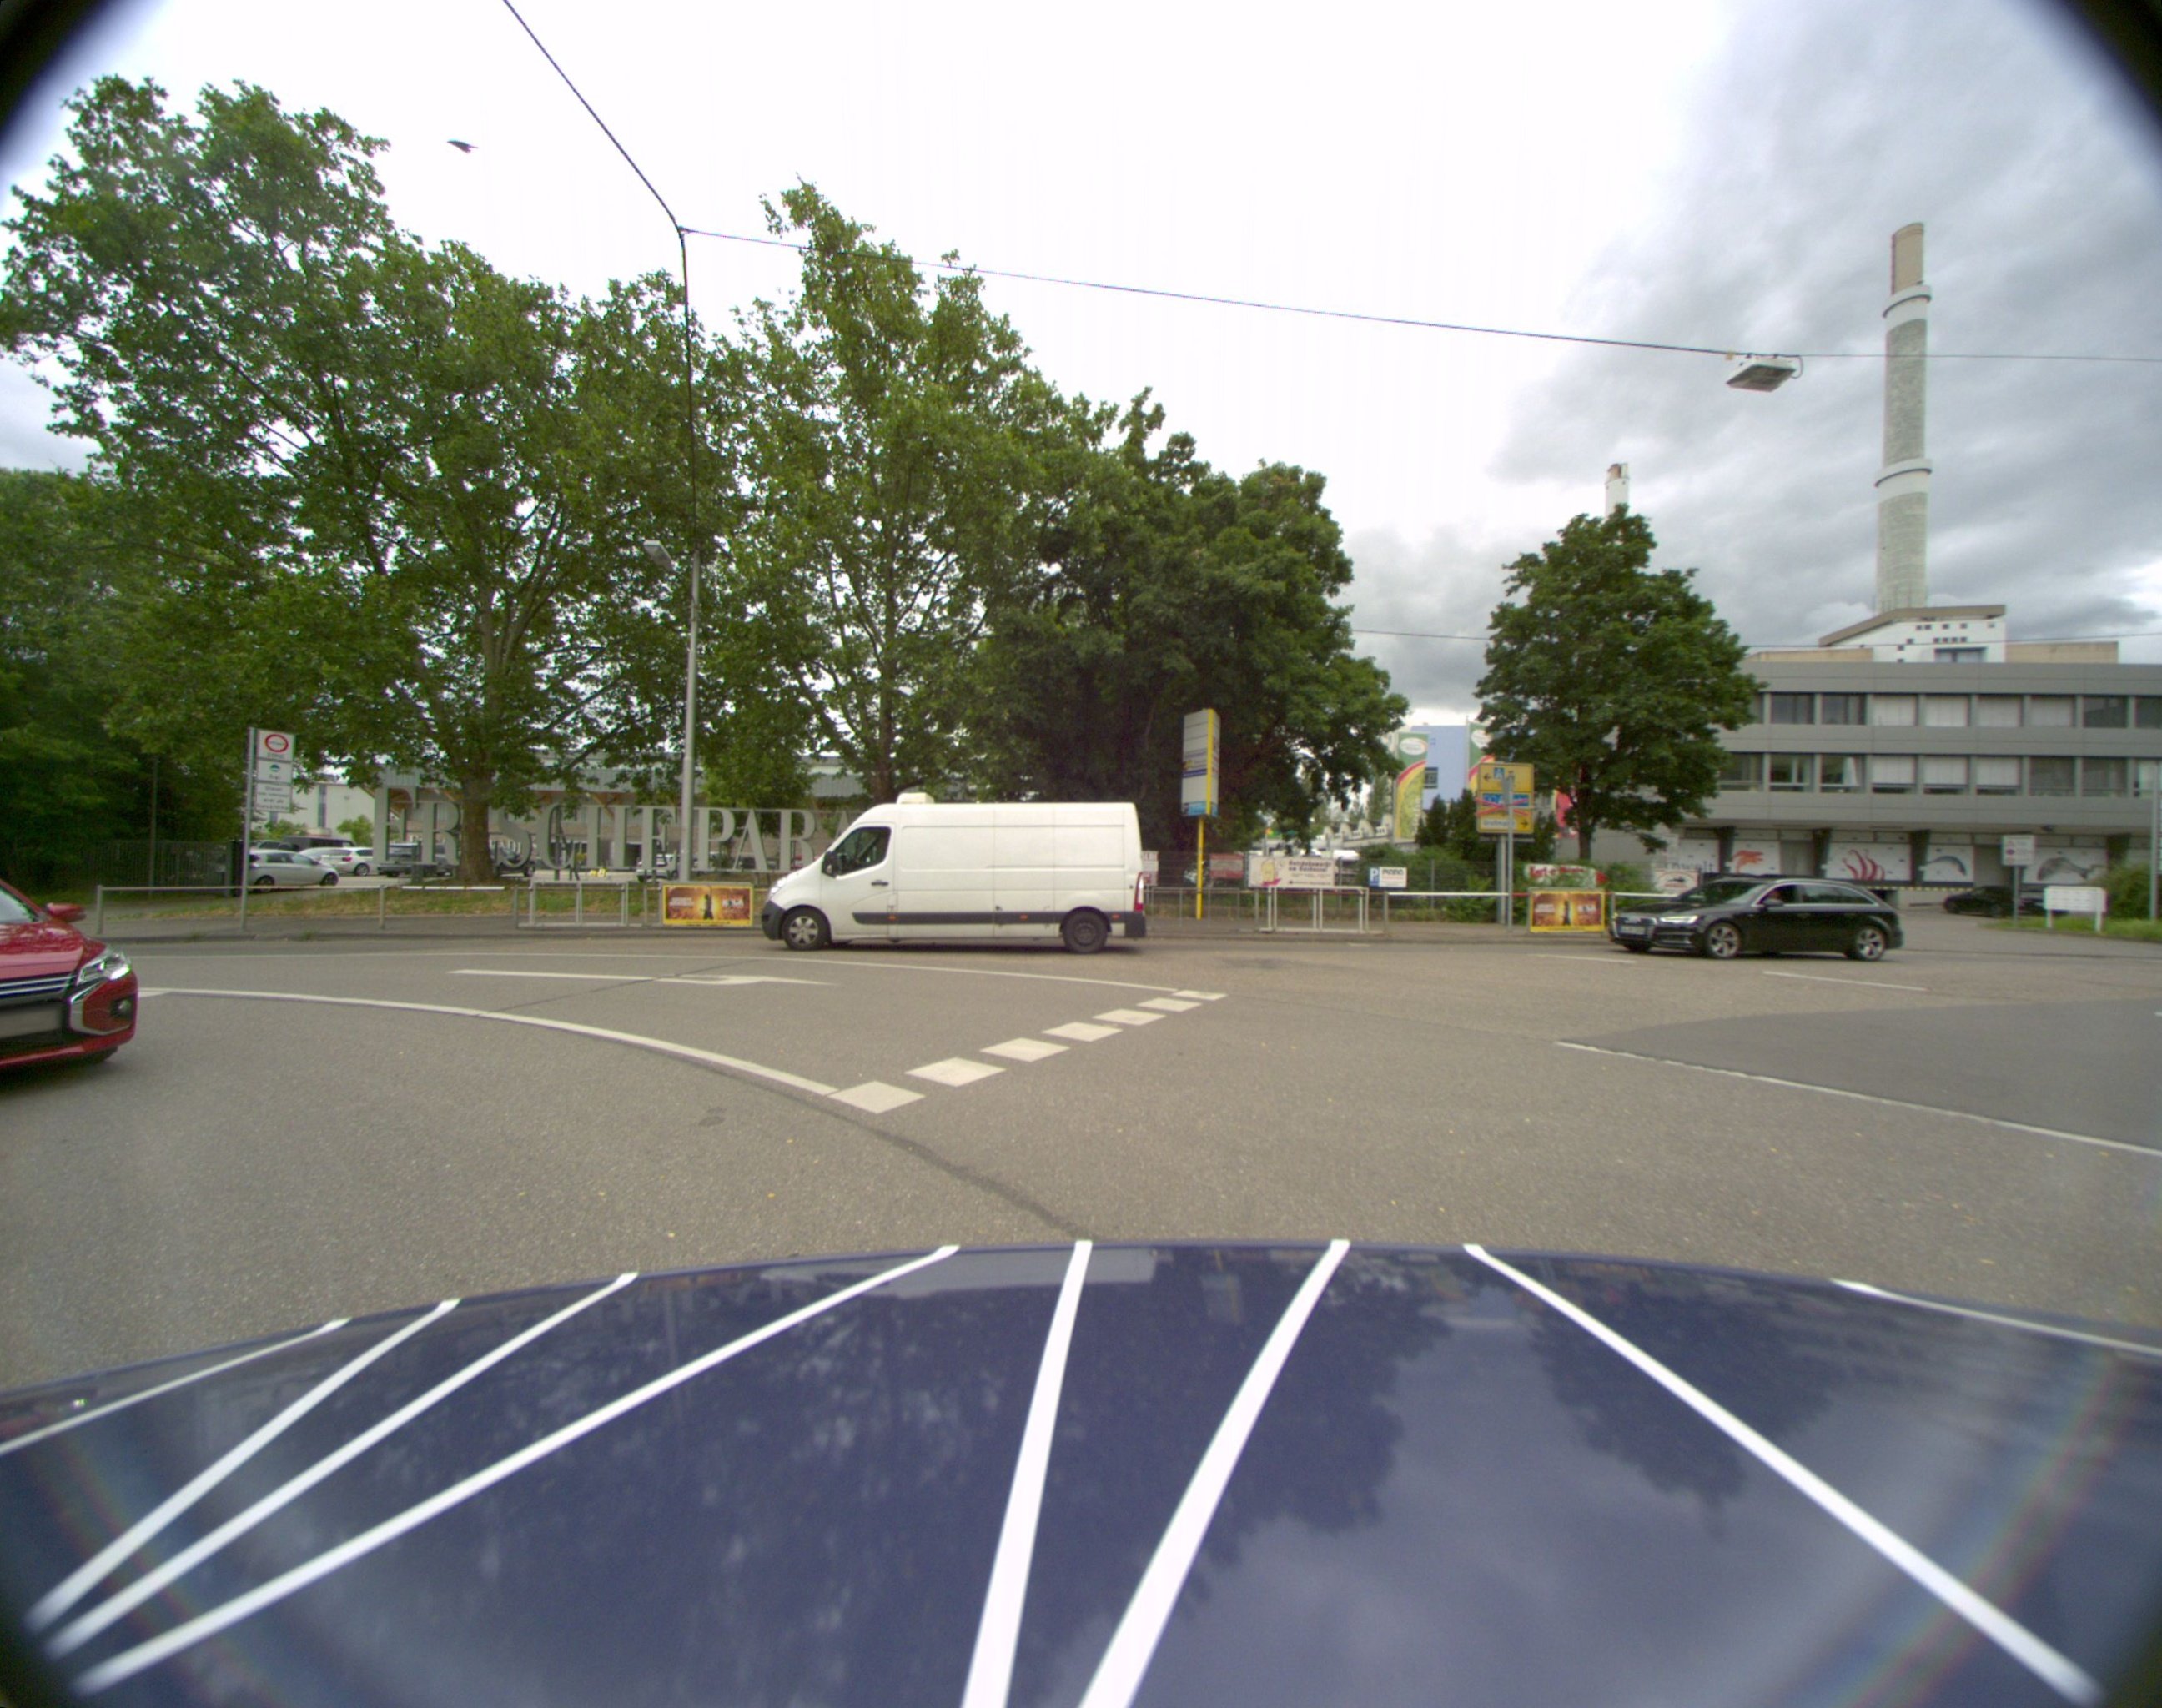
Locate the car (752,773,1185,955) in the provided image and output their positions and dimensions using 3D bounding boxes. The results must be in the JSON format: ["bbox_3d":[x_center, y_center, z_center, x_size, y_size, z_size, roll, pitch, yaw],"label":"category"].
[{"bbox_3d":[-1.697,0.143,12.665,6.479,2.527,2.192,-2,1,-1],"label":"car"}]

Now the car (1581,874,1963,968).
[{"bbox_3d":[12.227,1.149,13.669,5.219,1.448,2.000,2,-1,-3],"label":"car"}]

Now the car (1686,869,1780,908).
[{"bbox_3d":[31.766,1.648,37.147,1.775,1.669,3.574,-2,1,7],"label":"car"}]

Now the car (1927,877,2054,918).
[{"bbox_3d":[41.725,1.961,34.995,1.747,1.543,3.611,-2,1,6],"label":"car"}]

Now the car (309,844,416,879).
[{"bbox_3d":[-36.987,0.388,39.270,1.916,1.690,3.998,2,-1,-5],"label":"car"}]

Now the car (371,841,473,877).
[{"bbox_3d":[-33.703,0.269,39.024,1.916,1.690,3.998,2,-1,-5],"label":"car"}]

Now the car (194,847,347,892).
[{"bbox_3d":[-30.651,0.590,28.924,1.916,1.566,3.770,2,-1,-5],"label":"car"}]

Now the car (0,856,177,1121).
[{"bbox_3d":[-8.084,0.780,4.718,3.733,1.521,1.770,0,1,16],"label":"car"}]

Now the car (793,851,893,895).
[{"bbox_3d":[-8.944,0.657,29.023,1.998,1.449,4.701,-2,1,4],"label":"car"}]

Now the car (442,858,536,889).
[{"bbox_3d":[-30.449,0.981,39.238,1.916,1.499,3.998,2,-1,-5],"label":"car"}]

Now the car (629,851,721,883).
[{"bbox_3d":[-21.199,0.629,39.957,1.937,1.423,5.251,-2,1,0],"label":"car"}]
